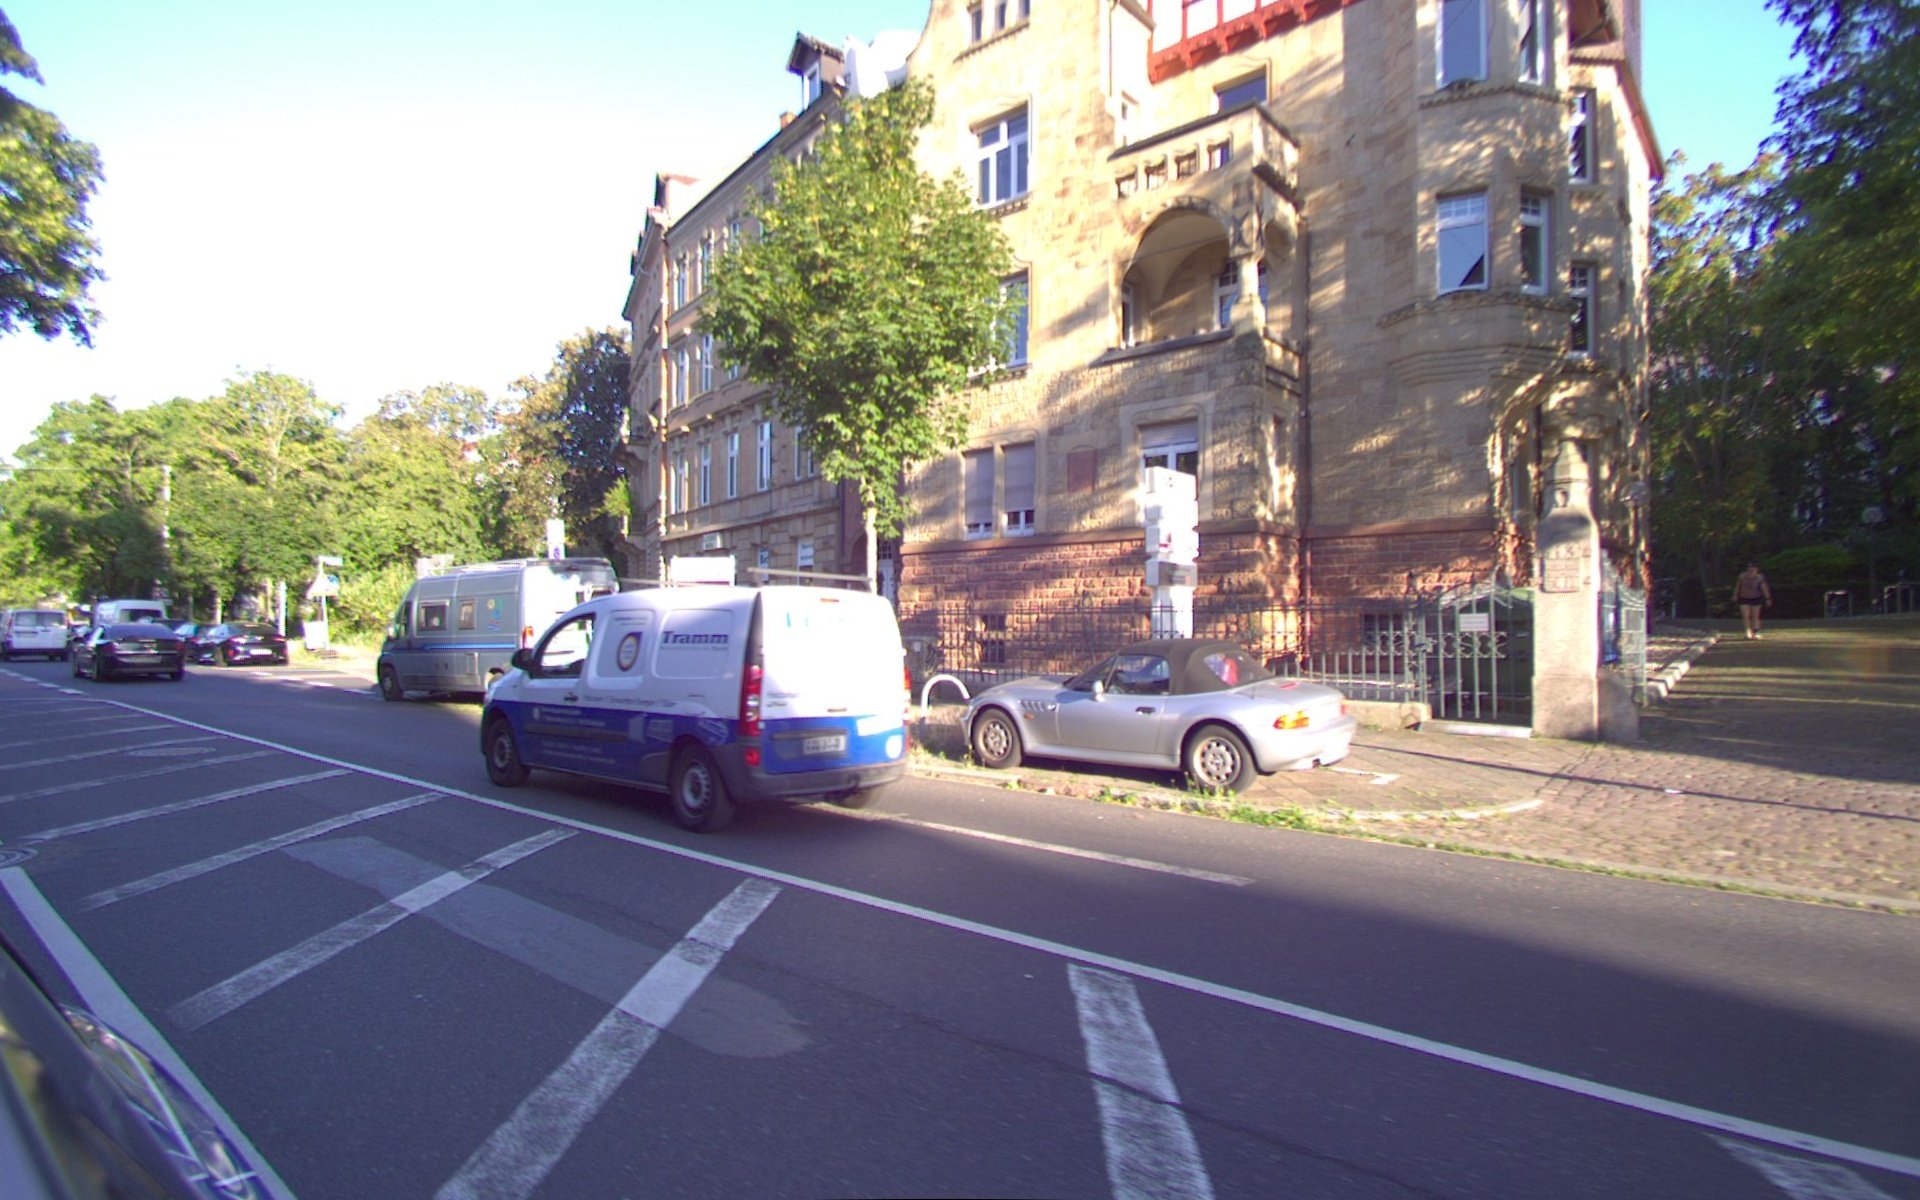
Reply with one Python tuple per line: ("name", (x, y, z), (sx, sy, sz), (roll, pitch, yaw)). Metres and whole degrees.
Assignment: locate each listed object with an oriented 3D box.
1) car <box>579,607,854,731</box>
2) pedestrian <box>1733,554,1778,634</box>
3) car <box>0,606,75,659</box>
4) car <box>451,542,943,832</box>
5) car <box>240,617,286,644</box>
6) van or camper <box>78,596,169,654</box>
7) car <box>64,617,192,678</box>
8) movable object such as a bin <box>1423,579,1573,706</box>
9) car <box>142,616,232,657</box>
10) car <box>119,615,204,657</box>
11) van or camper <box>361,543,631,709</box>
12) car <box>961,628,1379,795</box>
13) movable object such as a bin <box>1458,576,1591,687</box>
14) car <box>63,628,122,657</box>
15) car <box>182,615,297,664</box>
("car", (-3.696, 0.929, 14.944), (4.299, 1.546, 1.728), (-2, -1, 40))
("pedestrian", (17.269, -0.122, 21.962), (0.698, 1.710, 0.578), (-1, -2, 42))
("car", (-34.634, 1.220, 37.604), (5.167, 1.845, 1.972), (-2, -4, 42))
("car", (-2.424, 0.646, 8.689), (4.470, 1.867, 1.814), (-2, -4, 40))
("car", (-59.613, 2.606, 86.491), (5.098, 2.306, 2.191), (-2, -2, 43))
("van or camper", (-38.643, 1.204, 46.688), (6.300, 2.487, 2.069), (-2, -4, 40))
("car", (-20.799, 1.166, 25.237), (4.302, 1.397, 1.741), (-2, -4, 41))
("movable object such as a bin", (6.948, 0.496, 13.015), (1.327, 1.389, 1.922), (-1, 3, 39))
("car", (-28.902, 1.369, 37.782), (4.622, 1.456, 1.718), (-2, -3, 41))
("car", (-33.206, 1.499, 42.038), (4.568, 1.657, 1.846), (-2, -3, 40))
("van or camper", (-8.858, 0.474, 19.023), (6.027, 2.689, 1.975), (-2, -1, 37))
("car", (1.884, 0.922, 9.652), (3.611, 1.257, 1.520), (-2, -1, 40))
("movable object such as a bin", (8.184, 0.412, 14.633), (1.327, 1.389, 1.922), (-1, 3, 39))
("car", (-44.542, 2.203, 51.935), (4.239, 1.440, 1.612), (-2, -4, 40))
("car", (-23.838, 1.291, 33.429), (4.826, 1.495, 1.973), (-2, -3, 41))
